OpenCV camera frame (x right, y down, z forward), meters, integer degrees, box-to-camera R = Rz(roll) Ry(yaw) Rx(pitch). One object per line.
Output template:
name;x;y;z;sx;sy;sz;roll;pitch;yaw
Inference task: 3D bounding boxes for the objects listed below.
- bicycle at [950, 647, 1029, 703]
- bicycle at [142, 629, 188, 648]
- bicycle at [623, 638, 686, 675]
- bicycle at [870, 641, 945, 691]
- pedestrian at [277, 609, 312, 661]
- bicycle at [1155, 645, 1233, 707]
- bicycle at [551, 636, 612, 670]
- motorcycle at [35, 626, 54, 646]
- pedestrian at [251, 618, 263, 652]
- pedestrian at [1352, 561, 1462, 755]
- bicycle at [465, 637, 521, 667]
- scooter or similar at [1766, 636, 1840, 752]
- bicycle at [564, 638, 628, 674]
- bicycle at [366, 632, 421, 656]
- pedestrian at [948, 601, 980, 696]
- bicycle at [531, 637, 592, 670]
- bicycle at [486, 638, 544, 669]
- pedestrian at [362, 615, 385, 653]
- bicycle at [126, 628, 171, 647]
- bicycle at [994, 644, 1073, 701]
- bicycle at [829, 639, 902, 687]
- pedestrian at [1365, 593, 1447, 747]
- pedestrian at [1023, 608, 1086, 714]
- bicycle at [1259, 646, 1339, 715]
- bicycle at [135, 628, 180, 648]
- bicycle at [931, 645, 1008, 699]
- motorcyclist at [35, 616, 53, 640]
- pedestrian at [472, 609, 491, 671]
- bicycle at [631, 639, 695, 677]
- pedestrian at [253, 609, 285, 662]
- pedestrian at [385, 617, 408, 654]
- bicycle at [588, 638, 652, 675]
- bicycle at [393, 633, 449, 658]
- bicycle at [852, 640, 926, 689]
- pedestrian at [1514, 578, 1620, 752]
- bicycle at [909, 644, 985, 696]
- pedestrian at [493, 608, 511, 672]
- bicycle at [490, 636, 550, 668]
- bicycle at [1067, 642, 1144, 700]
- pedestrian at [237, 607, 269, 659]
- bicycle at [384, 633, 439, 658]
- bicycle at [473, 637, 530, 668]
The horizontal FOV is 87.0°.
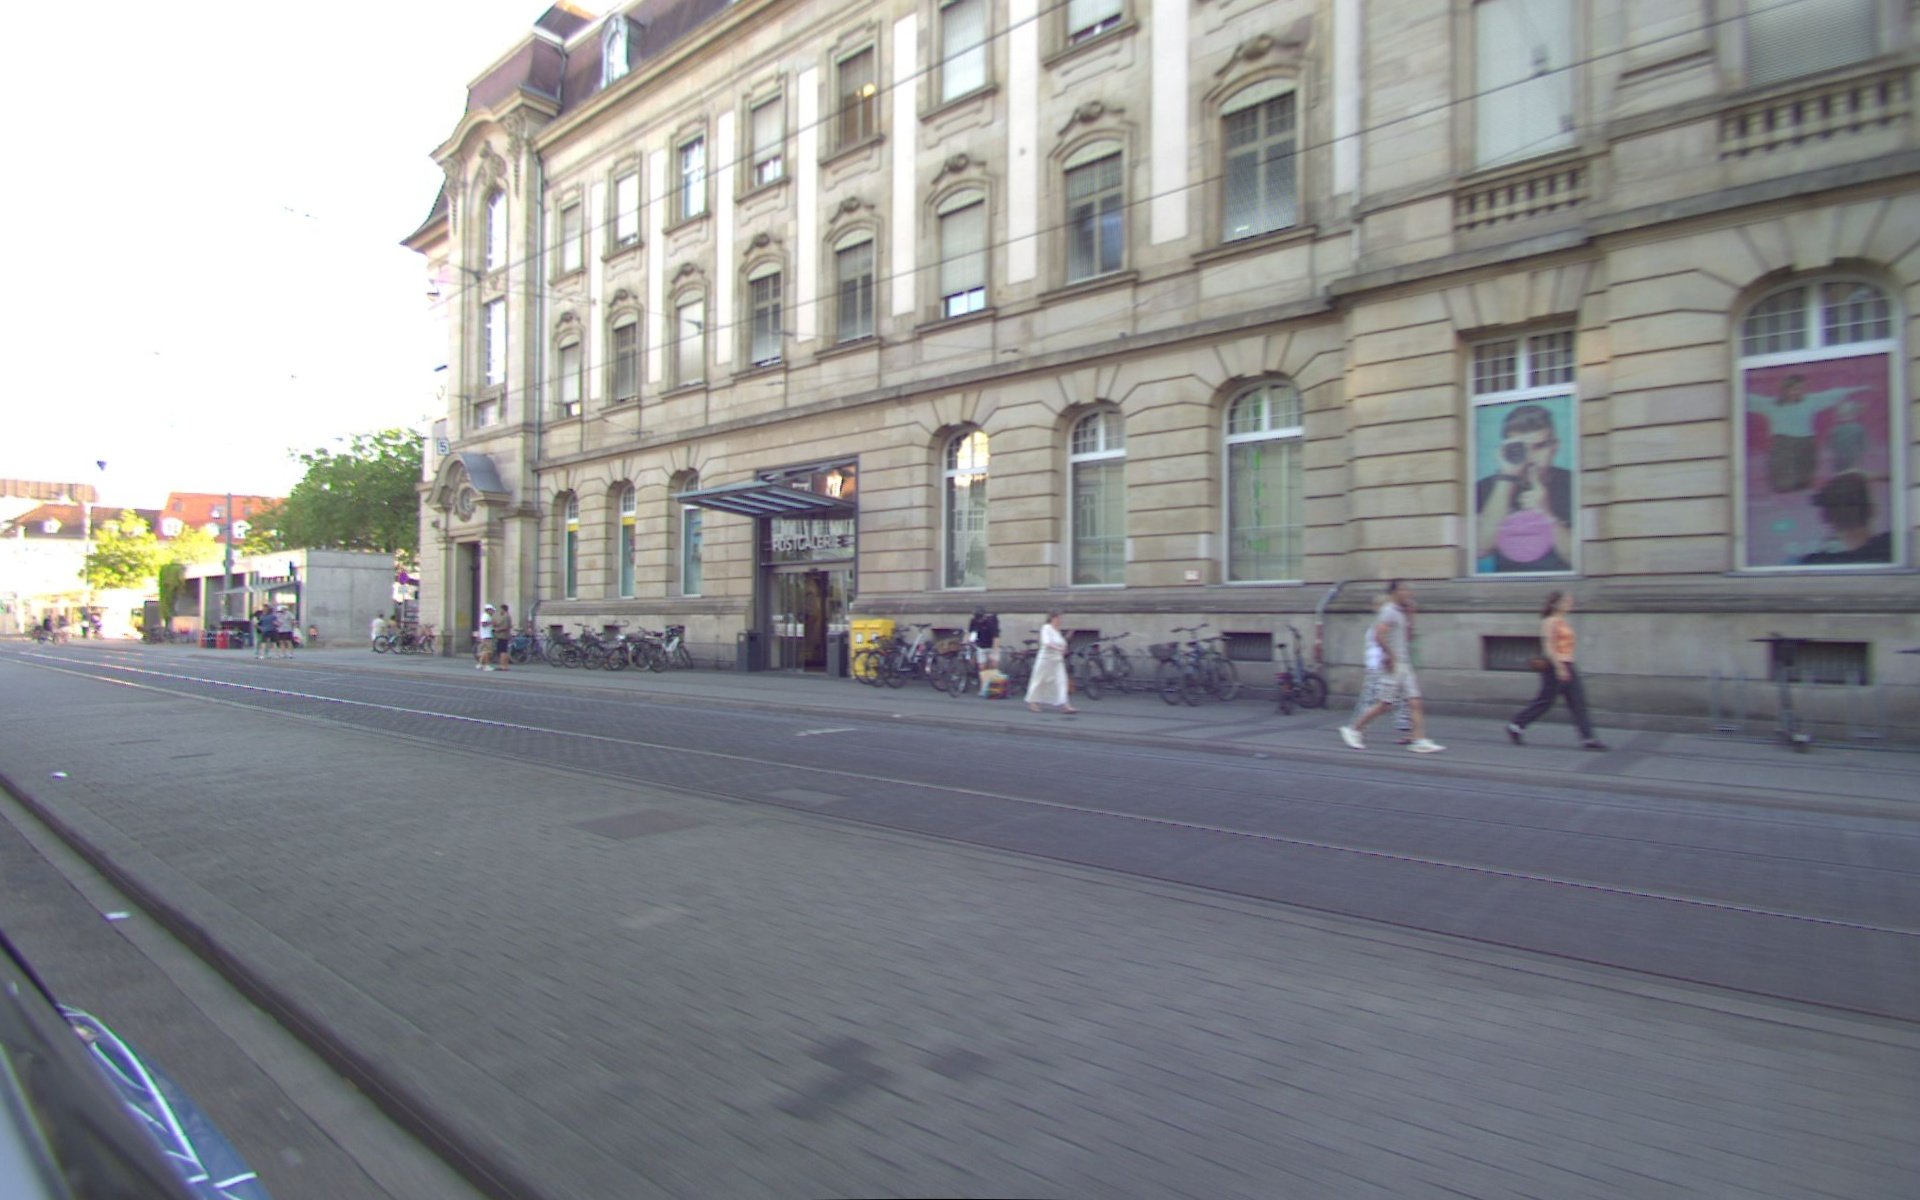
bicycle;0.538;1.298;17.817;1.557;0.880;0.451;0;0;-45
bicycle;-48.564;2.348;61.832;0.692;1.168;2.104;-2;-2;42
bicycle;-7.963;1.471;26.400;1.557;0.880;0.451;0;0;-45
bicycle;-1.011;1.277;19.846;1.557;0.880;0.451;0;0;-45
pedestrian;-22.780;1.205;34.653;0.673;1.750;0.674;0;-3;10
bicycle;3.751;1.188;16.135;1.557;0.880;0.451;0;0;-45
bicycle;-10.588;1.477;28.342;1.557;0.880;0.451;0;0;-45
motorcycle;-57.637;2.259;63.712;1.780;1.247;0.795;-1;0;44
pedestrian;-35.081;1.742;50.482;0.400;1.665;0.389;-1;0;35
pedestrian;4.454;0.557;10.087;0.814;1.826;0.685;-1;-2;41
bicycle;-14.680;1.626;31.837;1.557;0.880;0.451;0;0;-45
scooter or similar;8.828;0.944;10.582;1.529;1.076;0.451;0;0;-45
bicycle;-9.772;1.489;27.210;1.557;0.880;0.451;0;0;-45
bicycle;-22.883;1.764;40.898;0.634;0.875;1.817;-1;0;38
pedestrian;0.074;0.844;17.846;0.360;1.646;0.430;0;0;-44
bicycle;-11.290;1.505;28.720;1.557;0.880;0.451;0;0;-45
bicycle;-13.577;1.614;30.884;1.557;0.880;0.451;0;0;-45
pedestrian;-25.012;1.442;43.169;0.679;1.573;0.653;-1;-2;37
bicycle;-51.221;2.376;63.886;0.692;1.168;2.104;-2;-2;42
bicycle;1.288;1.237;17.562;1.557;0.880;0.451;0;0;-45
bicycle;-1.919;1.266;20.678;1.557;0.880;0.451;0;0;-45
pedestrian;4.762;0.724;10.809;0.678;1.573;0.654;-1;-2;34
pedestrian;1.355;0.851;14.528;0.683;1.477;0.557;1;-1;-33
bicycle;4.925;1.143;14.670;1.557;0.880;0.451;0;0;-45
bicycle;-49.822;2.361;62.853;0.692;1.168;2.104;-2;-2;42
bicycle;0.184;1.302;18.577;1.557;0.880;0.451;0;0;-45
motorcyclist;-57.650;1.756;63.709;0.800;1.450;0.789;-1;0;43
pedestrian;-12.684;1.052;26.835;0.370;1.643;0.495;0;0;-15
bicycle;-7.553;1.466;25.772;1.557;0.880;0.451;0;0;-45
pedestrian;-23.242;1.194;34.042;0.673;1.750;0.481;0;-3;12
pedestrian;-24.010;1.514;43.133;0.679;1.573;0.653;-1;-2;37
bicycle;-8.941;1.480;26.654;1.557;0.880;0.451;0;0;-45
bicycle;-20.799;1.762;39.061;0.634;0.875;1.817;-1;0;38
bicycle;-1.411;1.279;20.277;1.557;0.880;0.451;0;0;-45
pedestrian;6.332;0.653;10.563;0.815;1.725;0.685;-1;-2;42
bicycle;-0.227;1.296;19.076;1.557;0.880;0.451;0;0;-45
pedestrian;-12.201;1.048;26.984;0.370;1.686;0.495;0;0;-17
bicycle;-13.056;1.524;30.062;1.557;0.880;0.451;0;0;-45
bicycle;2.480;1.192;17.188;1.557;0.880;0.451;0;0;-45
pedestrian;-24.074;1.113;34.456;0.593;1.750;0.643;-1;-3;31
bicycle;-21.389;1.768;39.483;0.634;0.875;1.817;-1;0;38
bicycle;-14.254;1.621;31.507;1.557;0.880;0.451;0;0;-45
